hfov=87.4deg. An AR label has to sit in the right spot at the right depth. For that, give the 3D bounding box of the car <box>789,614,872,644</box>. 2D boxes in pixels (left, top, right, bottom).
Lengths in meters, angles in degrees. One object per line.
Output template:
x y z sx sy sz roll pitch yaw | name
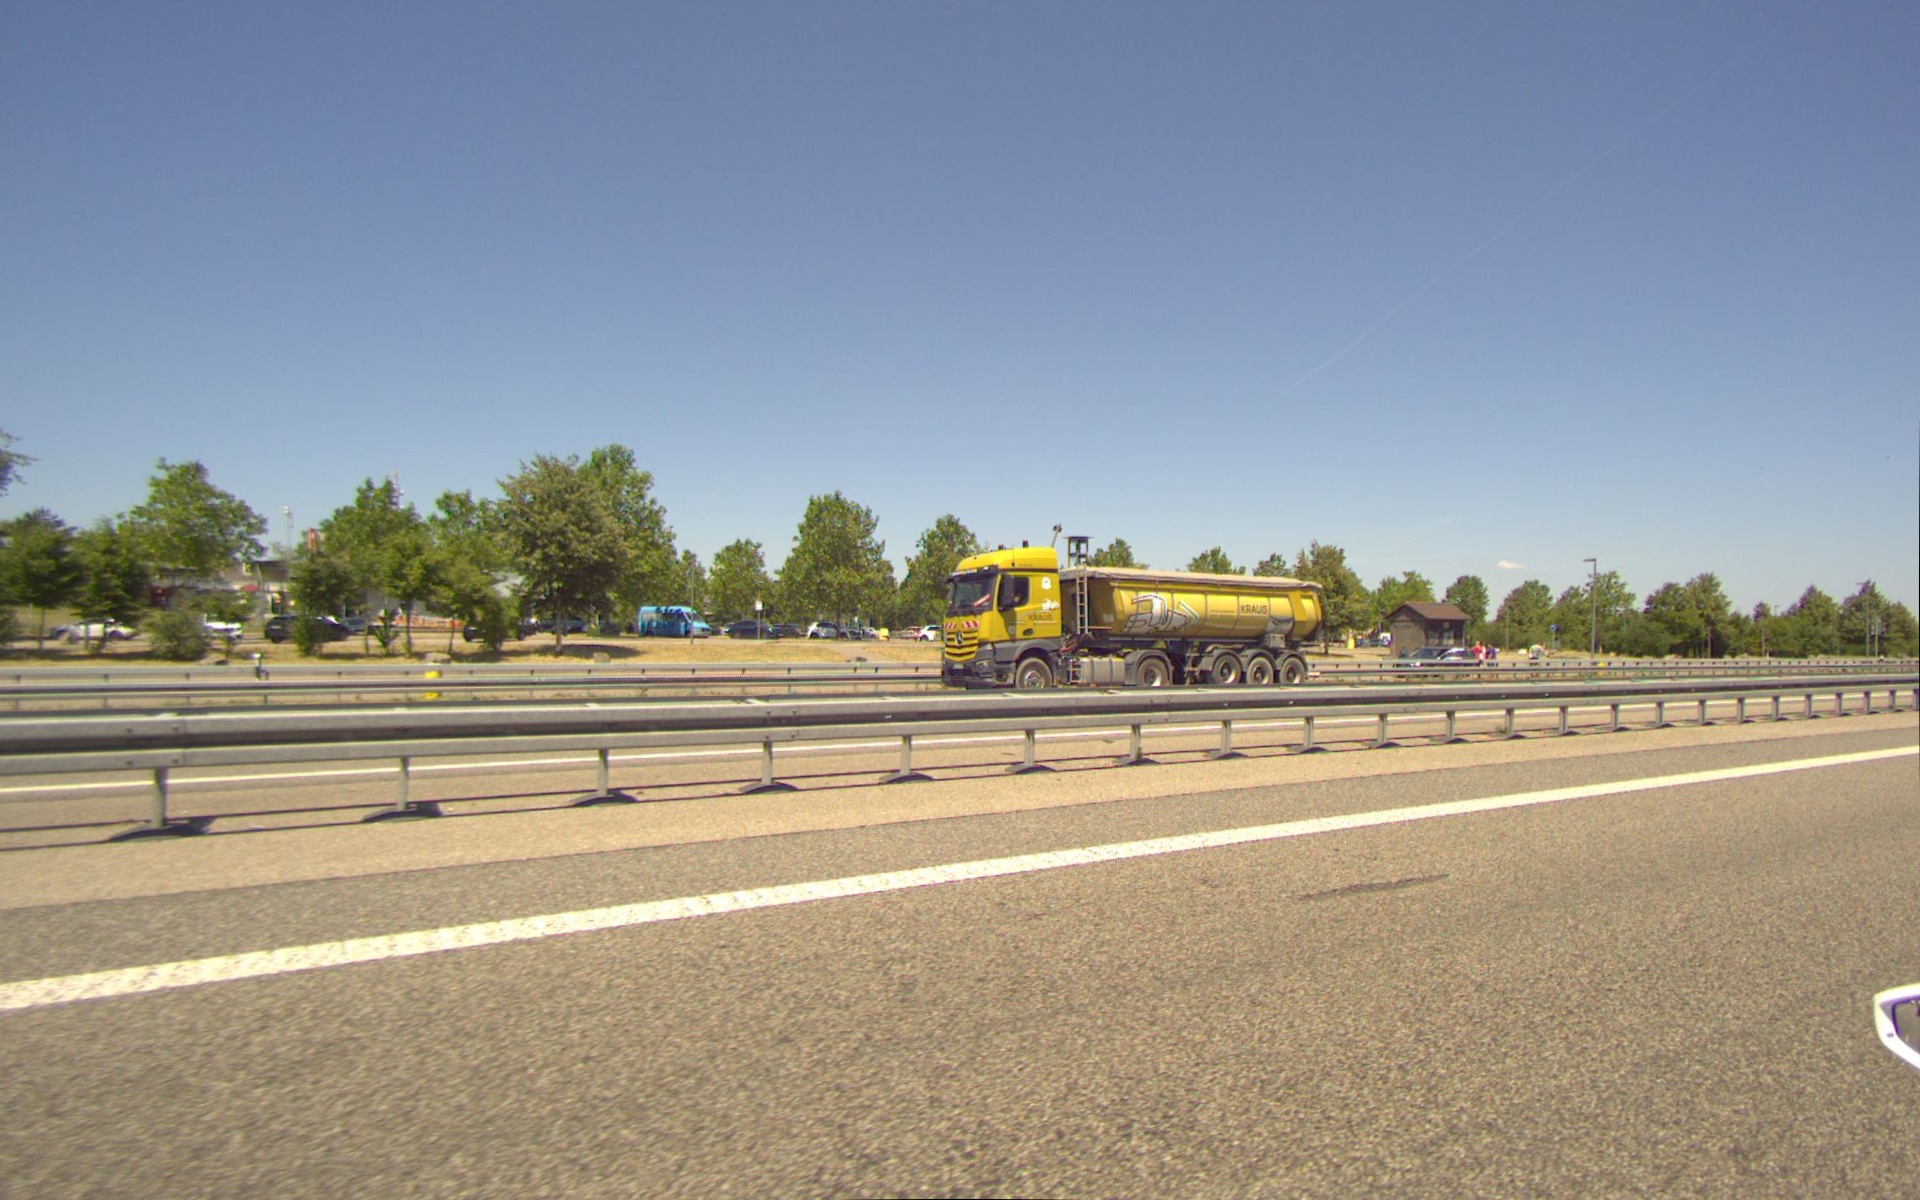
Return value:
-10.243 2.269 79.260 6.086 2.152 2.477 1 0 23 | car

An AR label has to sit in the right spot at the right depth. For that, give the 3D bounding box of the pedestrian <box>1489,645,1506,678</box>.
25.576 2.928 47.796 0.493 1.523 0.497 1 0 -21 | pedestrian

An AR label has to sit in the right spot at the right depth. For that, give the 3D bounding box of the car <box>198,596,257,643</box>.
-42.269 1.078 57.881 2.457 2.533 6.136 1 0 -39 | car

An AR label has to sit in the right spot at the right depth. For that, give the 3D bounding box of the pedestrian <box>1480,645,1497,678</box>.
25.019 2.913 47.520 0.493 1.523 0.497 1 0 -21 | pedestrian

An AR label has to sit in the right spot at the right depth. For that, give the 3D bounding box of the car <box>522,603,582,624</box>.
-41.746 1.393 102.847 5.205 2.017 2.447 1 0 -42 | car

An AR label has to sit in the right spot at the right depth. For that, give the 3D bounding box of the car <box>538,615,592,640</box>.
-35.382 2.402 90.082 2.428 2.017 5.246 1 0 4 | car

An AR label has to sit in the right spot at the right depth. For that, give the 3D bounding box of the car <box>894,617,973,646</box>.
-2.233 2.607 83.896 6.086 2.152 2.477 1 0 23 | car

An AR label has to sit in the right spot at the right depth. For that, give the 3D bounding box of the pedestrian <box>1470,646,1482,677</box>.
24.351 2.897 47.426 0.491 1.441 0.499 1 0 27 | pedestrian

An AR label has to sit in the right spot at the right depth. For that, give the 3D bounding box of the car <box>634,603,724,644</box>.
-20.460 1.676 73.038 6.086 2.786 2.476 1 0 23 | car

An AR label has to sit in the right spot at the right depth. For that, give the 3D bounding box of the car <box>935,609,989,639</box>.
0.274 3.089 127.929 6.252 3.751 2.730 1 0 -31 | car

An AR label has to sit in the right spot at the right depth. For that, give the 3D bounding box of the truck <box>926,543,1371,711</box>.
5.674 0.833 27.806 13.371 3.860 3.156 2 -2 -30 | truck

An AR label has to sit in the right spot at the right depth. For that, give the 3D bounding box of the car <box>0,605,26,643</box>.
-54.446 1.239 54.332 5.163 2.017 2.467 1 0 -19 | car

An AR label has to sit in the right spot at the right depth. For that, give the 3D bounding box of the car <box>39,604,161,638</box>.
-53.578 1.305 62.738 5.163 2.017 2.467 1 0 -19 | car

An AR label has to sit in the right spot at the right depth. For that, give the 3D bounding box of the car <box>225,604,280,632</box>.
-55.117 1.358 78.334 2.443 2.017 5.213 1 0 -24 | car

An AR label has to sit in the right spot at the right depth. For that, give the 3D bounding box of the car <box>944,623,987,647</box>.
0.550 3.842 110.953 2.712 2.387 6.293 1 0 -21 | car

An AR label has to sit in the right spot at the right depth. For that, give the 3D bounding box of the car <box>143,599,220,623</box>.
-69.712 1.020 89.980 5.208 2.017 2.446 1 0 -43 | car

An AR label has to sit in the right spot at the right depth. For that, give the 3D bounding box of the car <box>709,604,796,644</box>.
-15.683 1.805 75.929 6.086 2.786 2.476 1 0 23 | car

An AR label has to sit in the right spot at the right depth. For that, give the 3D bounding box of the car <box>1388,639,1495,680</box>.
23.078 2.829 48.106 5.410 1.867 2.042 2 -2 -31 | car
